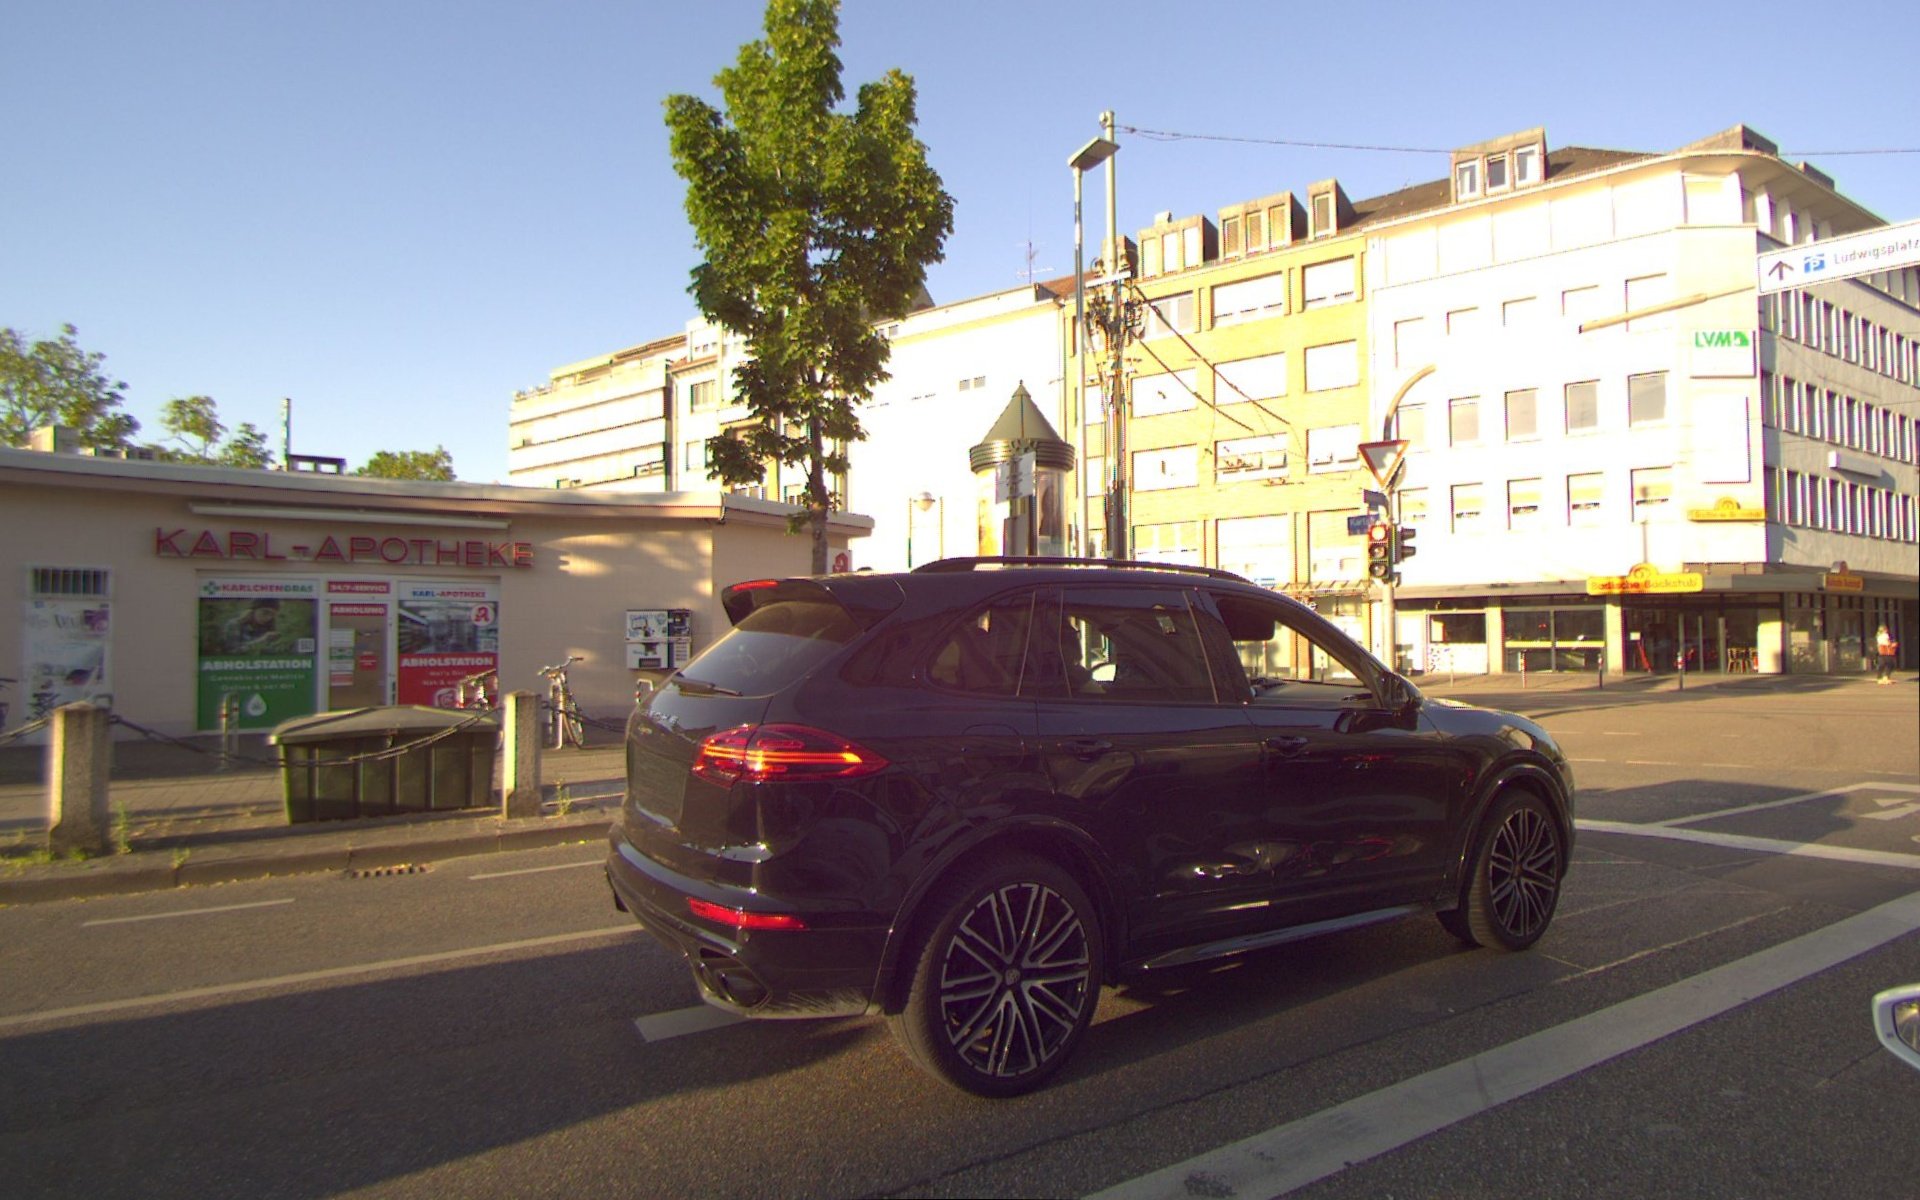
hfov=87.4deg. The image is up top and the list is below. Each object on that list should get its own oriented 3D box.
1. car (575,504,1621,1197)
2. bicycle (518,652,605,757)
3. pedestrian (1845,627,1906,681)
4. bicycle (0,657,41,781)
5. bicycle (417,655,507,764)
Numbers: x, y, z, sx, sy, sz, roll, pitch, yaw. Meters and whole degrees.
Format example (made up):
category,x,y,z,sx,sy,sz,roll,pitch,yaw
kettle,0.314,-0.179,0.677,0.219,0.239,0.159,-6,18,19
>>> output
category,x,y,z,sx,sy,sz,roll,pitch,yaw
car,0.799,0.694,4.566,4.510,1.736,1.939,1,-3,-32
bicycle,-5.393,1.335,13.492,0.778,1.273,2.433,1,-3,-29
pedestrian,27.083,1.595,29.740,0.930,1.557,0.909,-1,-2,4
bicycle,-10.334,1.242,10.500,0.625,1.273,1.846,1,-3,-29
bicycle,-6.447,1.350,12.951,0.938,1.273,1.997,1,-3,-29
